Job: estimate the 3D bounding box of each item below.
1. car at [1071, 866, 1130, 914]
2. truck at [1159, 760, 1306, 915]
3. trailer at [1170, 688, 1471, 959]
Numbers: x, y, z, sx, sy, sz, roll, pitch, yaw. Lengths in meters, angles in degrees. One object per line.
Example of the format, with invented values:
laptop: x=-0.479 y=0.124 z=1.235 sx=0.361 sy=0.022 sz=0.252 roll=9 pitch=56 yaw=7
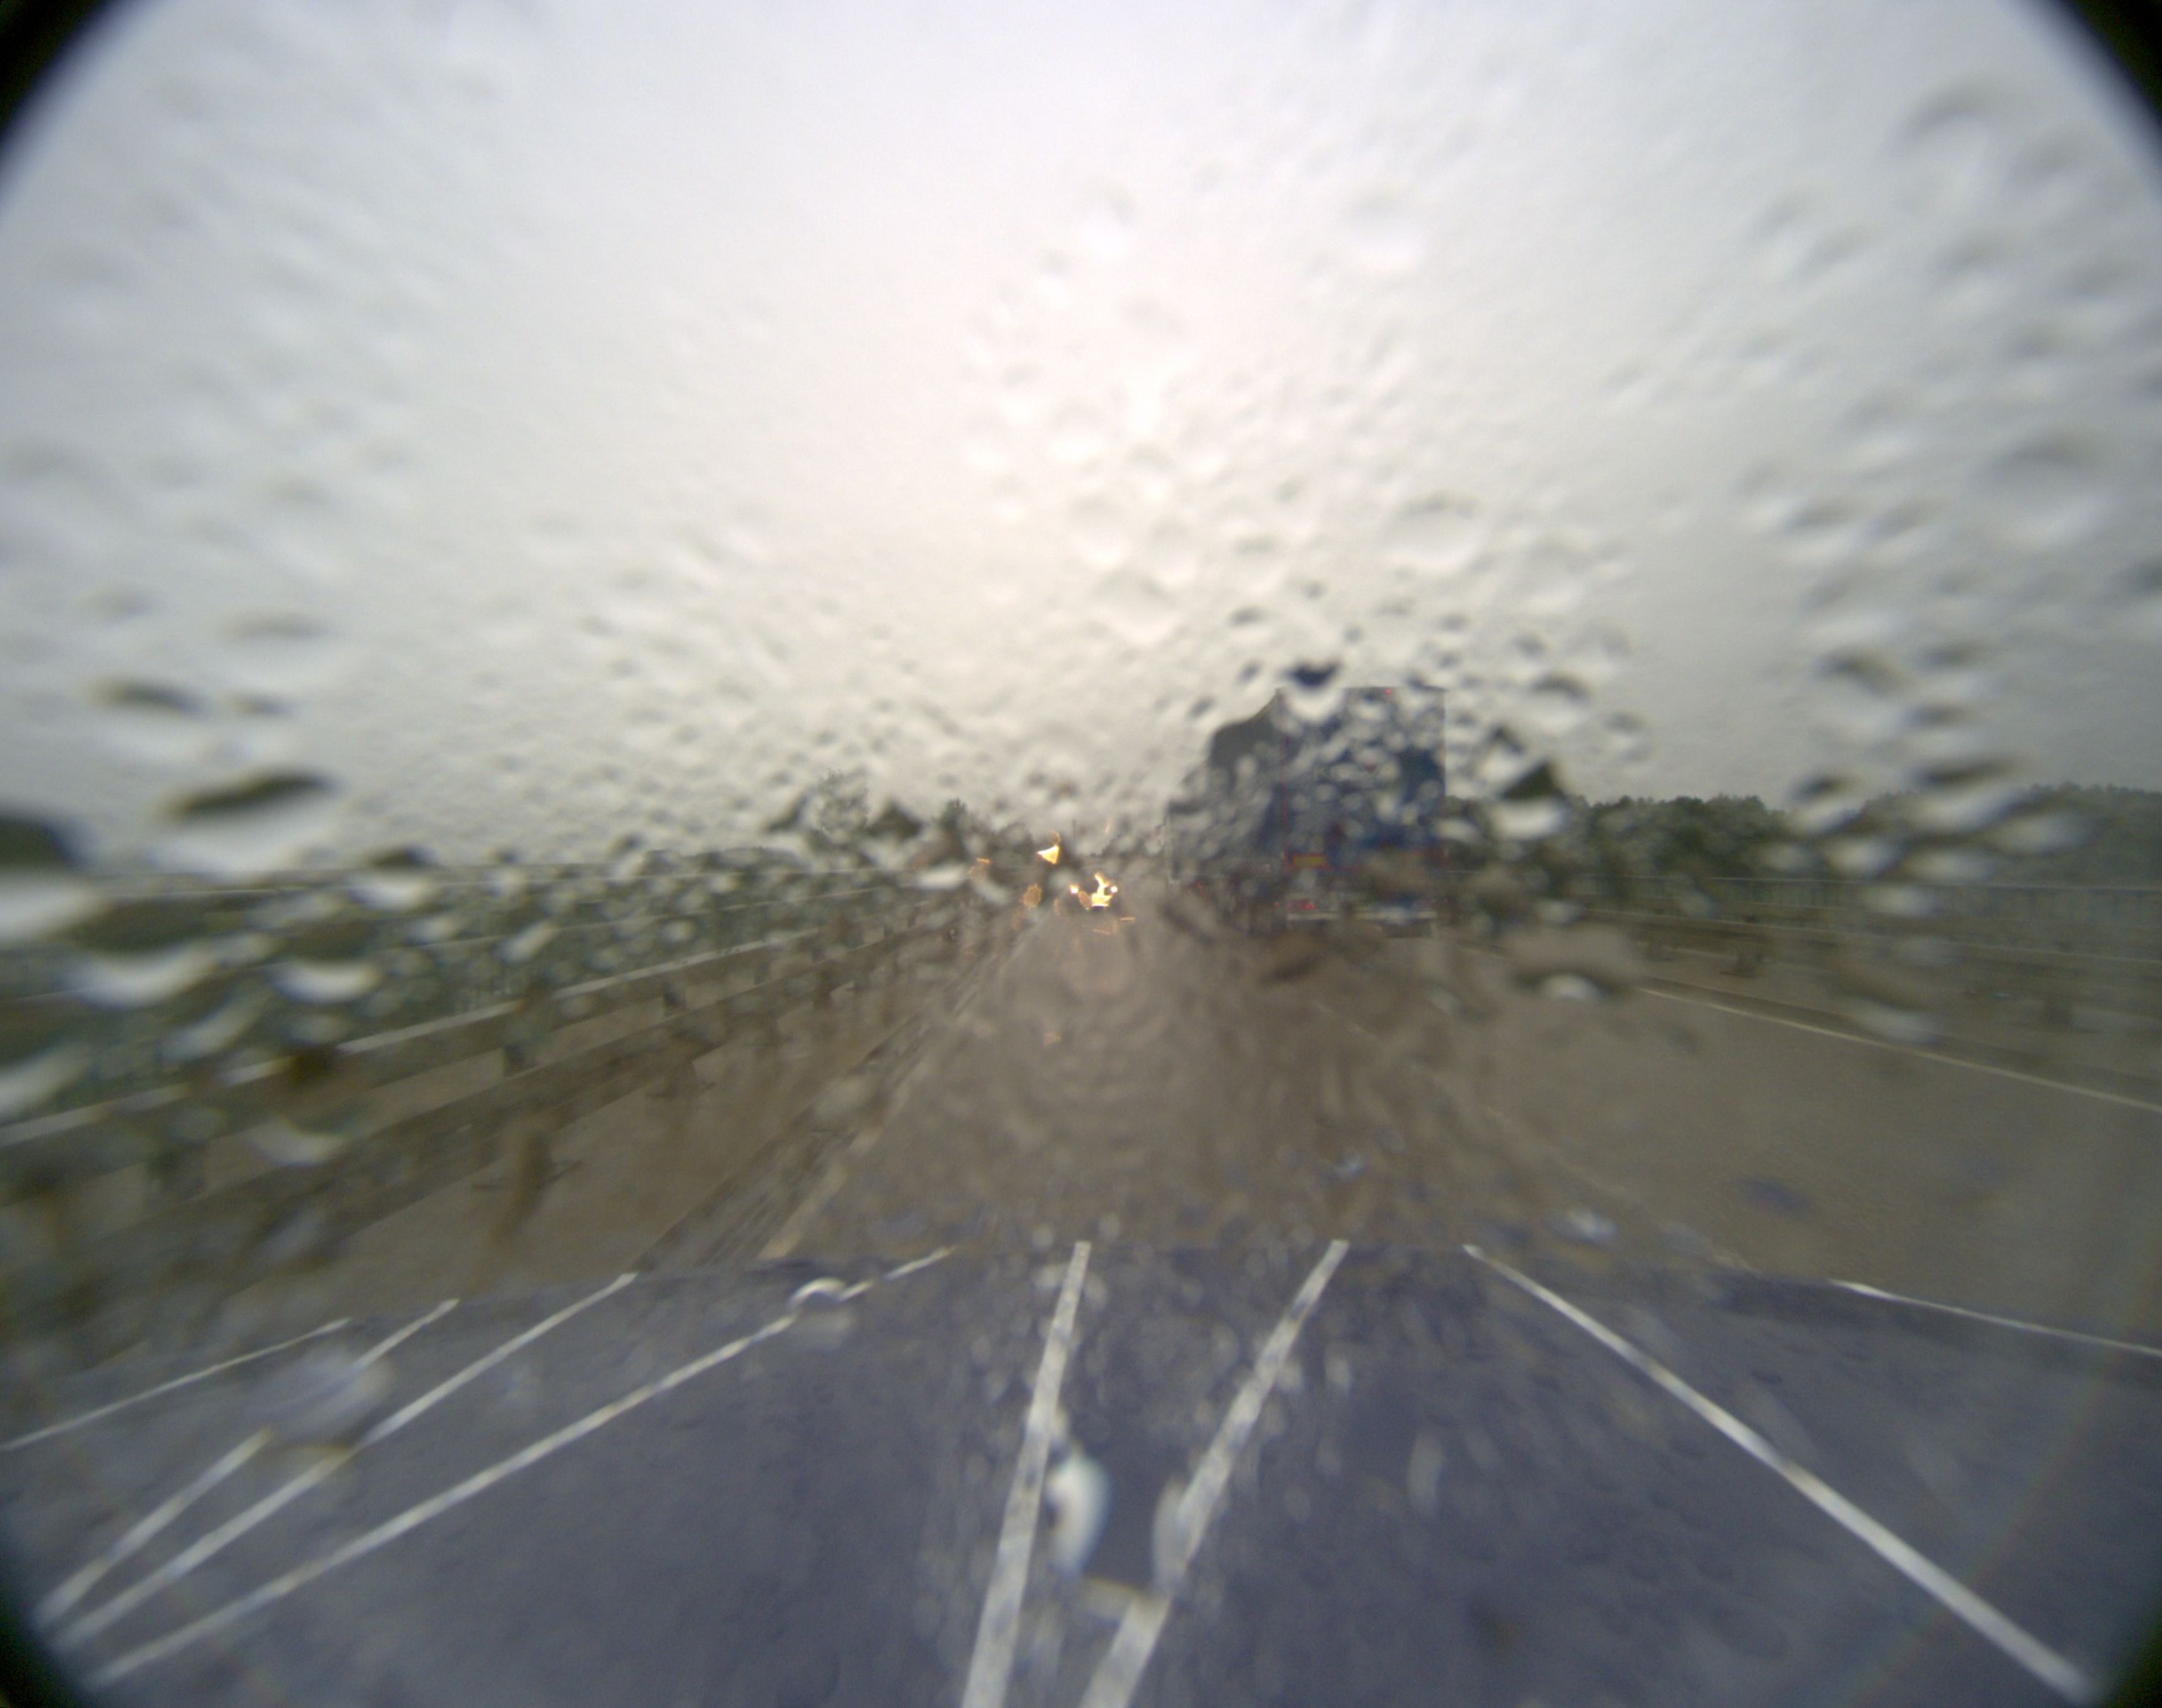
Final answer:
car: x=0.651 y=1.188 z=26.518 sx=1.819 sy=1.382 sz=4.069 roll=-3 pitch=0 yaw=1
truck: x=4.386 y=-0.407 z=24.095 sx=2.825 sy=3.947 sz=8.763 roll=-1 pitch=0 yaw=0
trailer: x=4.365 y=-0.423 z=18.154 sx=2.825 sy=3.947 sz=13.736 roll=-1 pitch=0 yaw=0
